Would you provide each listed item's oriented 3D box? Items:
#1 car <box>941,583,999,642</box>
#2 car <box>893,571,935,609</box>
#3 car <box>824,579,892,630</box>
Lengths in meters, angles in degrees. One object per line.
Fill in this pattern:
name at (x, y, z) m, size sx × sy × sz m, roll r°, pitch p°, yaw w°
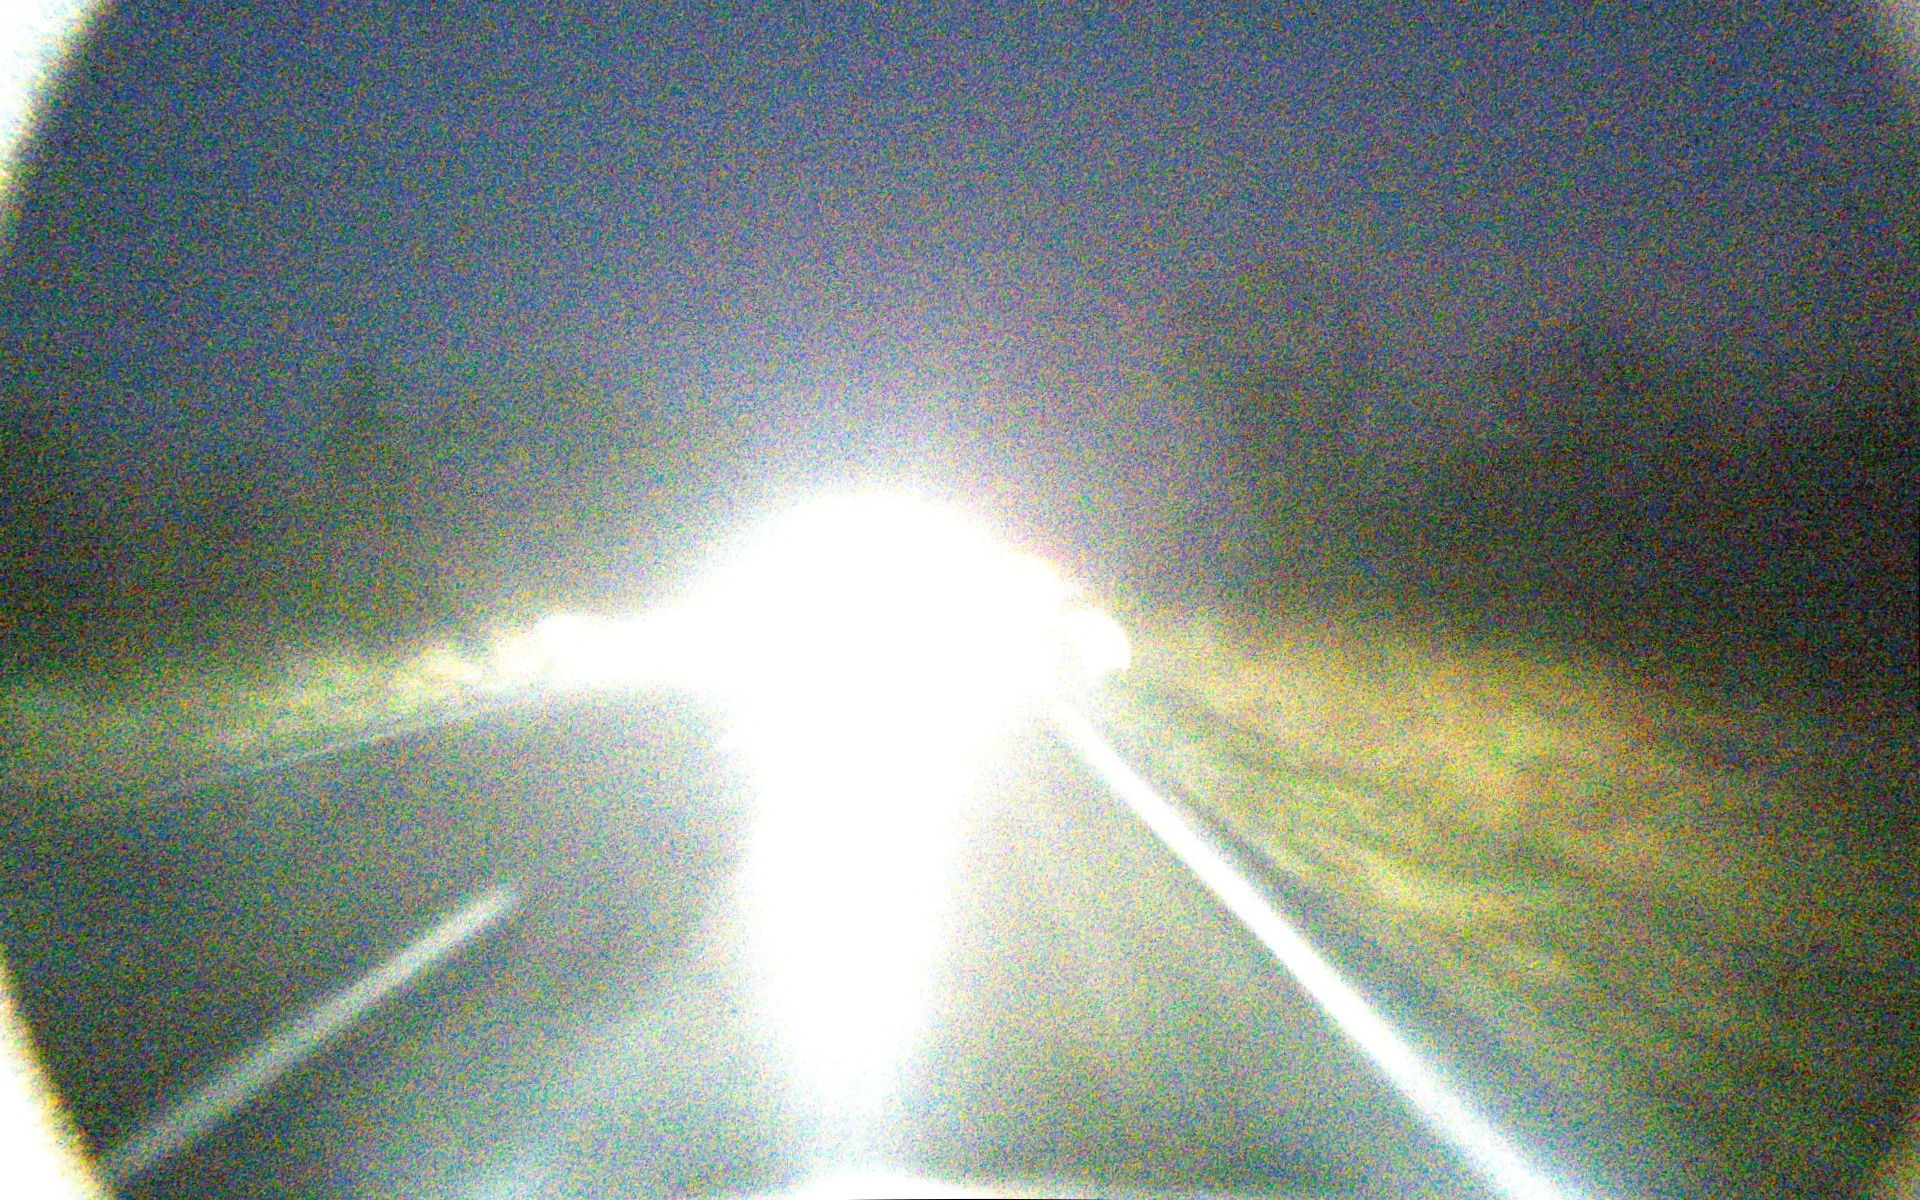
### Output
car at (0.352, 0.369, 53.136) m, size 1.804 × 1.771 × 4.001 m, roll -1°, pitch 1°, yaw 1°
car at (-2.538, -0.571, 92.483) m, size 1.952 × 2.049 × 4.277 m, roll -2°, pitch 1°, yaw 3°
car at (-3.418, 0.131, 55.851) m, size 1.952 × 1.652 × 4.001 m, roll 0°, pitch 0°, yaw 1°
